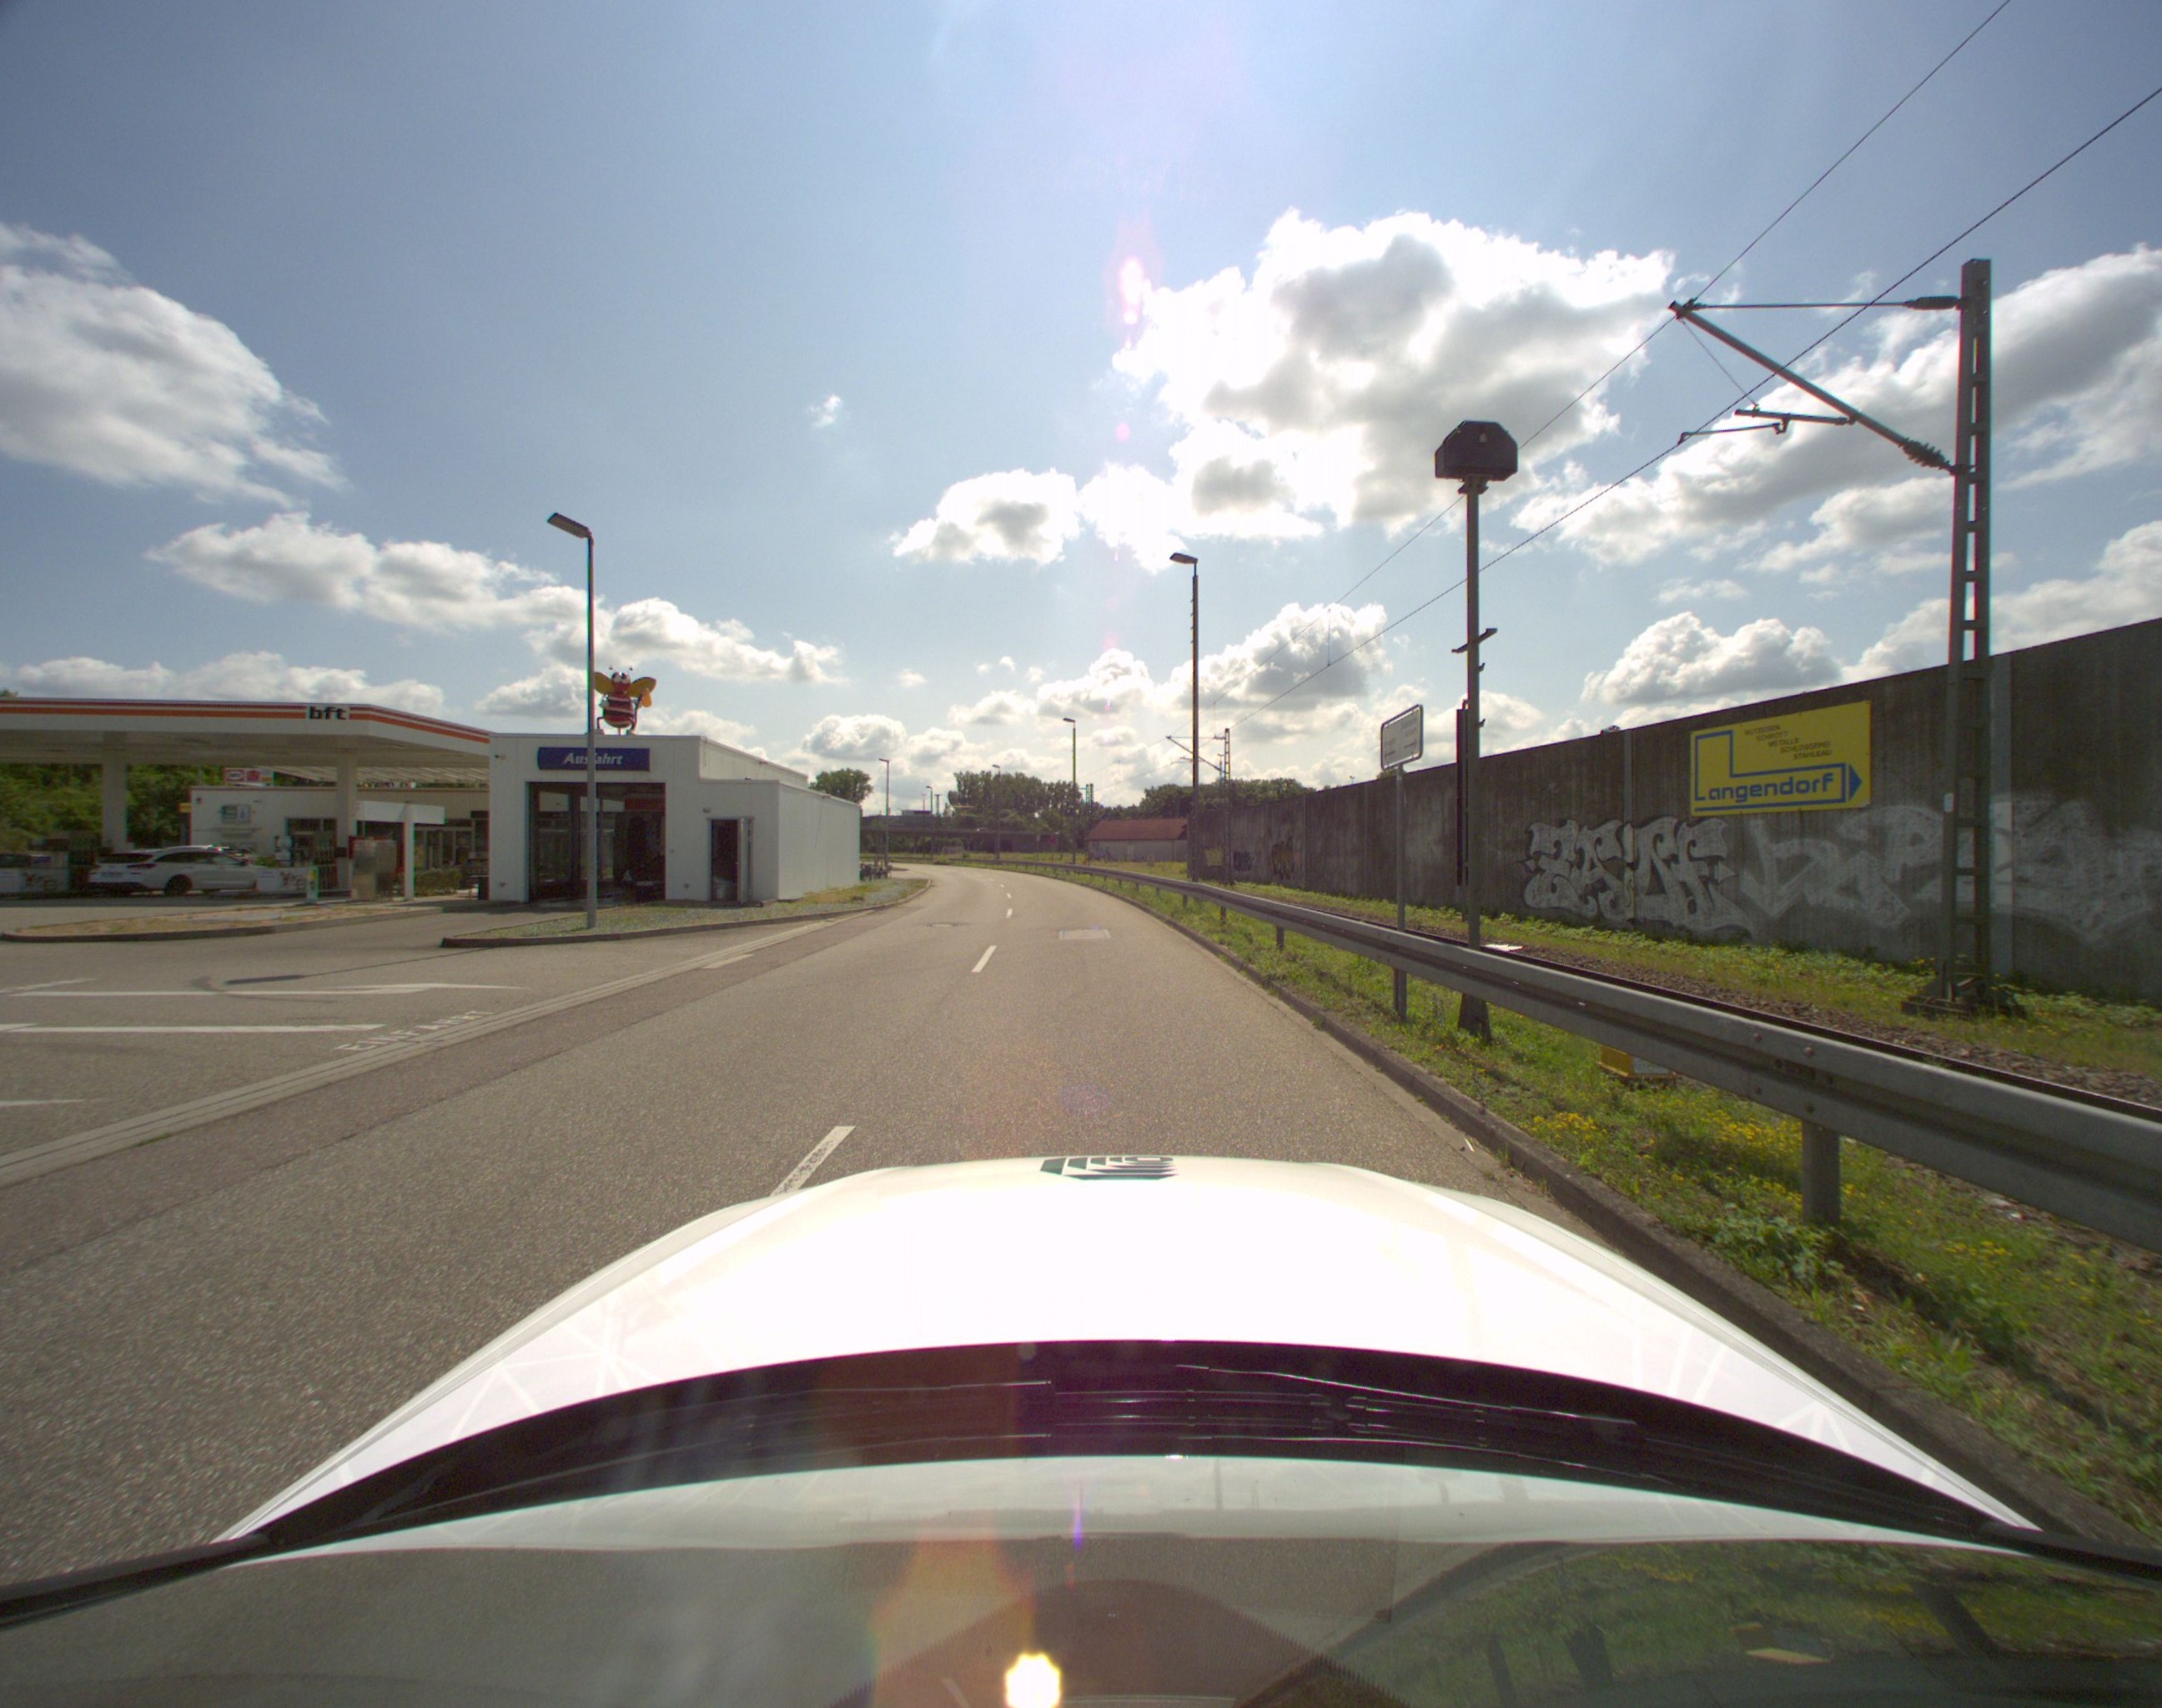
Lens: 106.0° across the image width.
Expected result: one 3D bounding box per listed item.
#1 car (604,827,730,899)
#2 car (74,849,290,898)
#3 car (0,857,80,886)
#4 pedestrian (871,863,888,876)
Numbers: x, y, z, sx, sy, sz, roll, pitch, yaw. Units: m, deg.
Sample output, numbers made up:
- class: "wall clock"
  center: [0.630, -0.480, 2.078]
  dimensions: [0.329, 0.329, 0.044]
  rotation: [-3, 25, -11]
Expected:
- class: "car"
  center: [-13.313, 0.266, 26.587]
  dimensions: [1.991, 2.109, 4.999]
  rotation: [-1, 0, -6]
- class: "car"
  center: [-28.440, 0.577, 26.053]
  dimensions: [1.887, 1.431, 4.583]
  rotation: [-1, 0, -2]
- class: "car"
  center: [-55.052, 0.902, 41.994]
  dimensions: [3.986, 1.394, 1.994]
  rotation: [-1, 0, -9]
- class: "pedestrian"
  center: [-12.642, 0.945, 51.116]
  dimensions: [0.861, 0.760, 0.816]
  rotation: [3, -1, -7]
